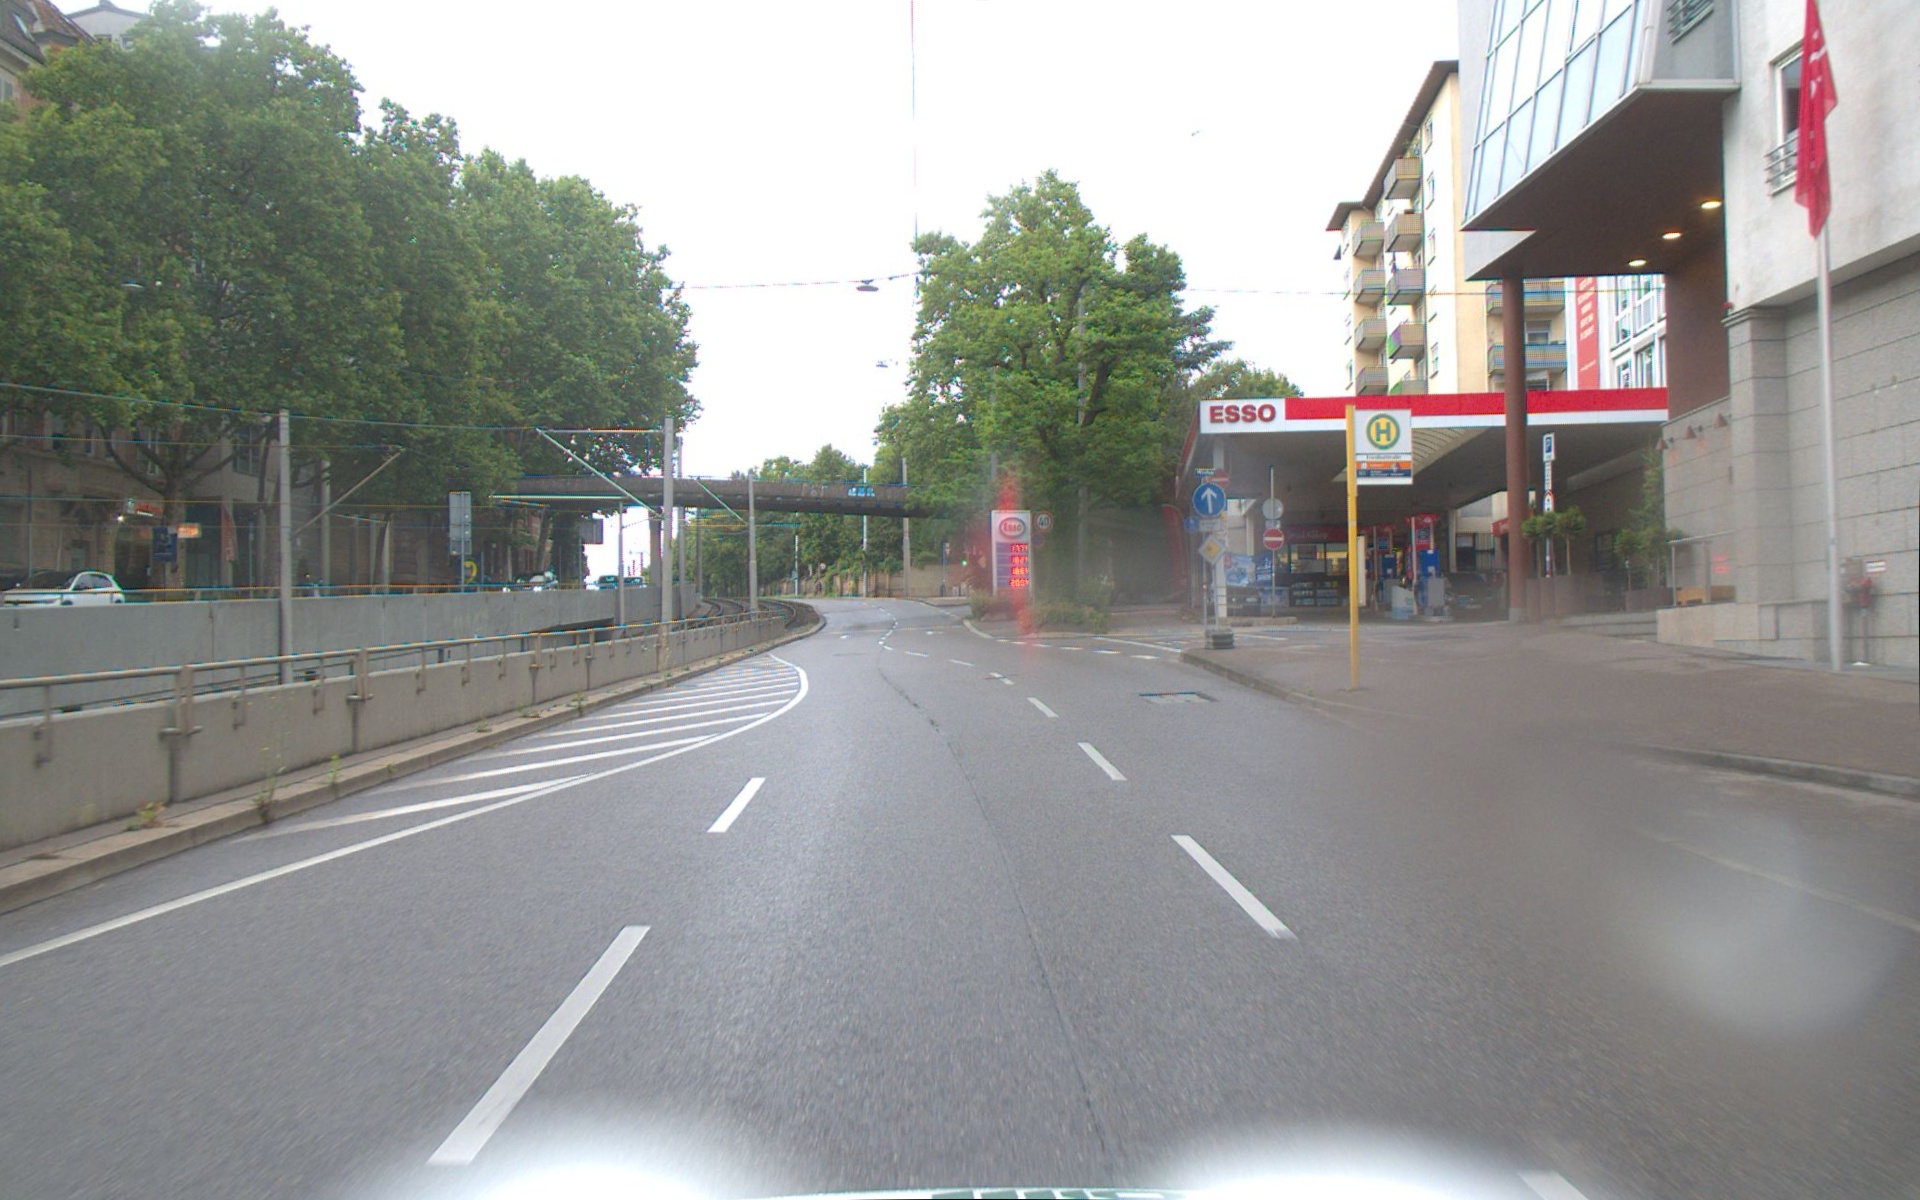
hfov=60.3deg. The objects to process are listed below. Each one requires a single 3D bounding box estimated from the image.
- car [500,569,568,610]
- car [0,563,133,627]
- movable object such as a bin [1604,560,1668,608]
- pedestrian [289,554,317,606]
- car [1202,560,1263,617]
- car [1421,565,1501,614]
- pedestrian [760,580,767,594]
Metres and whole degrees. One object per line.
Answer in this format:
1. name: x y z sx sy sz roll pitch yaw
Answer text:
1. car: -20.526 -0.508 79.905 1.916 1.885 4.969 1 0 1
2. car: -24.165 -0.151 44.514 1.757 1.639 4.112 1 0 -1
3. movable object such as a bin: 21.212 -0.494 51.978 1.138 1.450 2.509 -1 0 5
4. pedestrian: -26.511 -0.793 66.737 0.655 2.049 0.935 1 -1 2
5. car: 8.535 -0.356 52.035 1.735 1.652 3.869 -3 0 8
6. car: 16.659 -0.318 55.144 1.756 1.537 4.002 1 -1 5
7. pedestrian: -23.321 -1.553 196.397 0.707 1.717 0.726 1 -1 -14
